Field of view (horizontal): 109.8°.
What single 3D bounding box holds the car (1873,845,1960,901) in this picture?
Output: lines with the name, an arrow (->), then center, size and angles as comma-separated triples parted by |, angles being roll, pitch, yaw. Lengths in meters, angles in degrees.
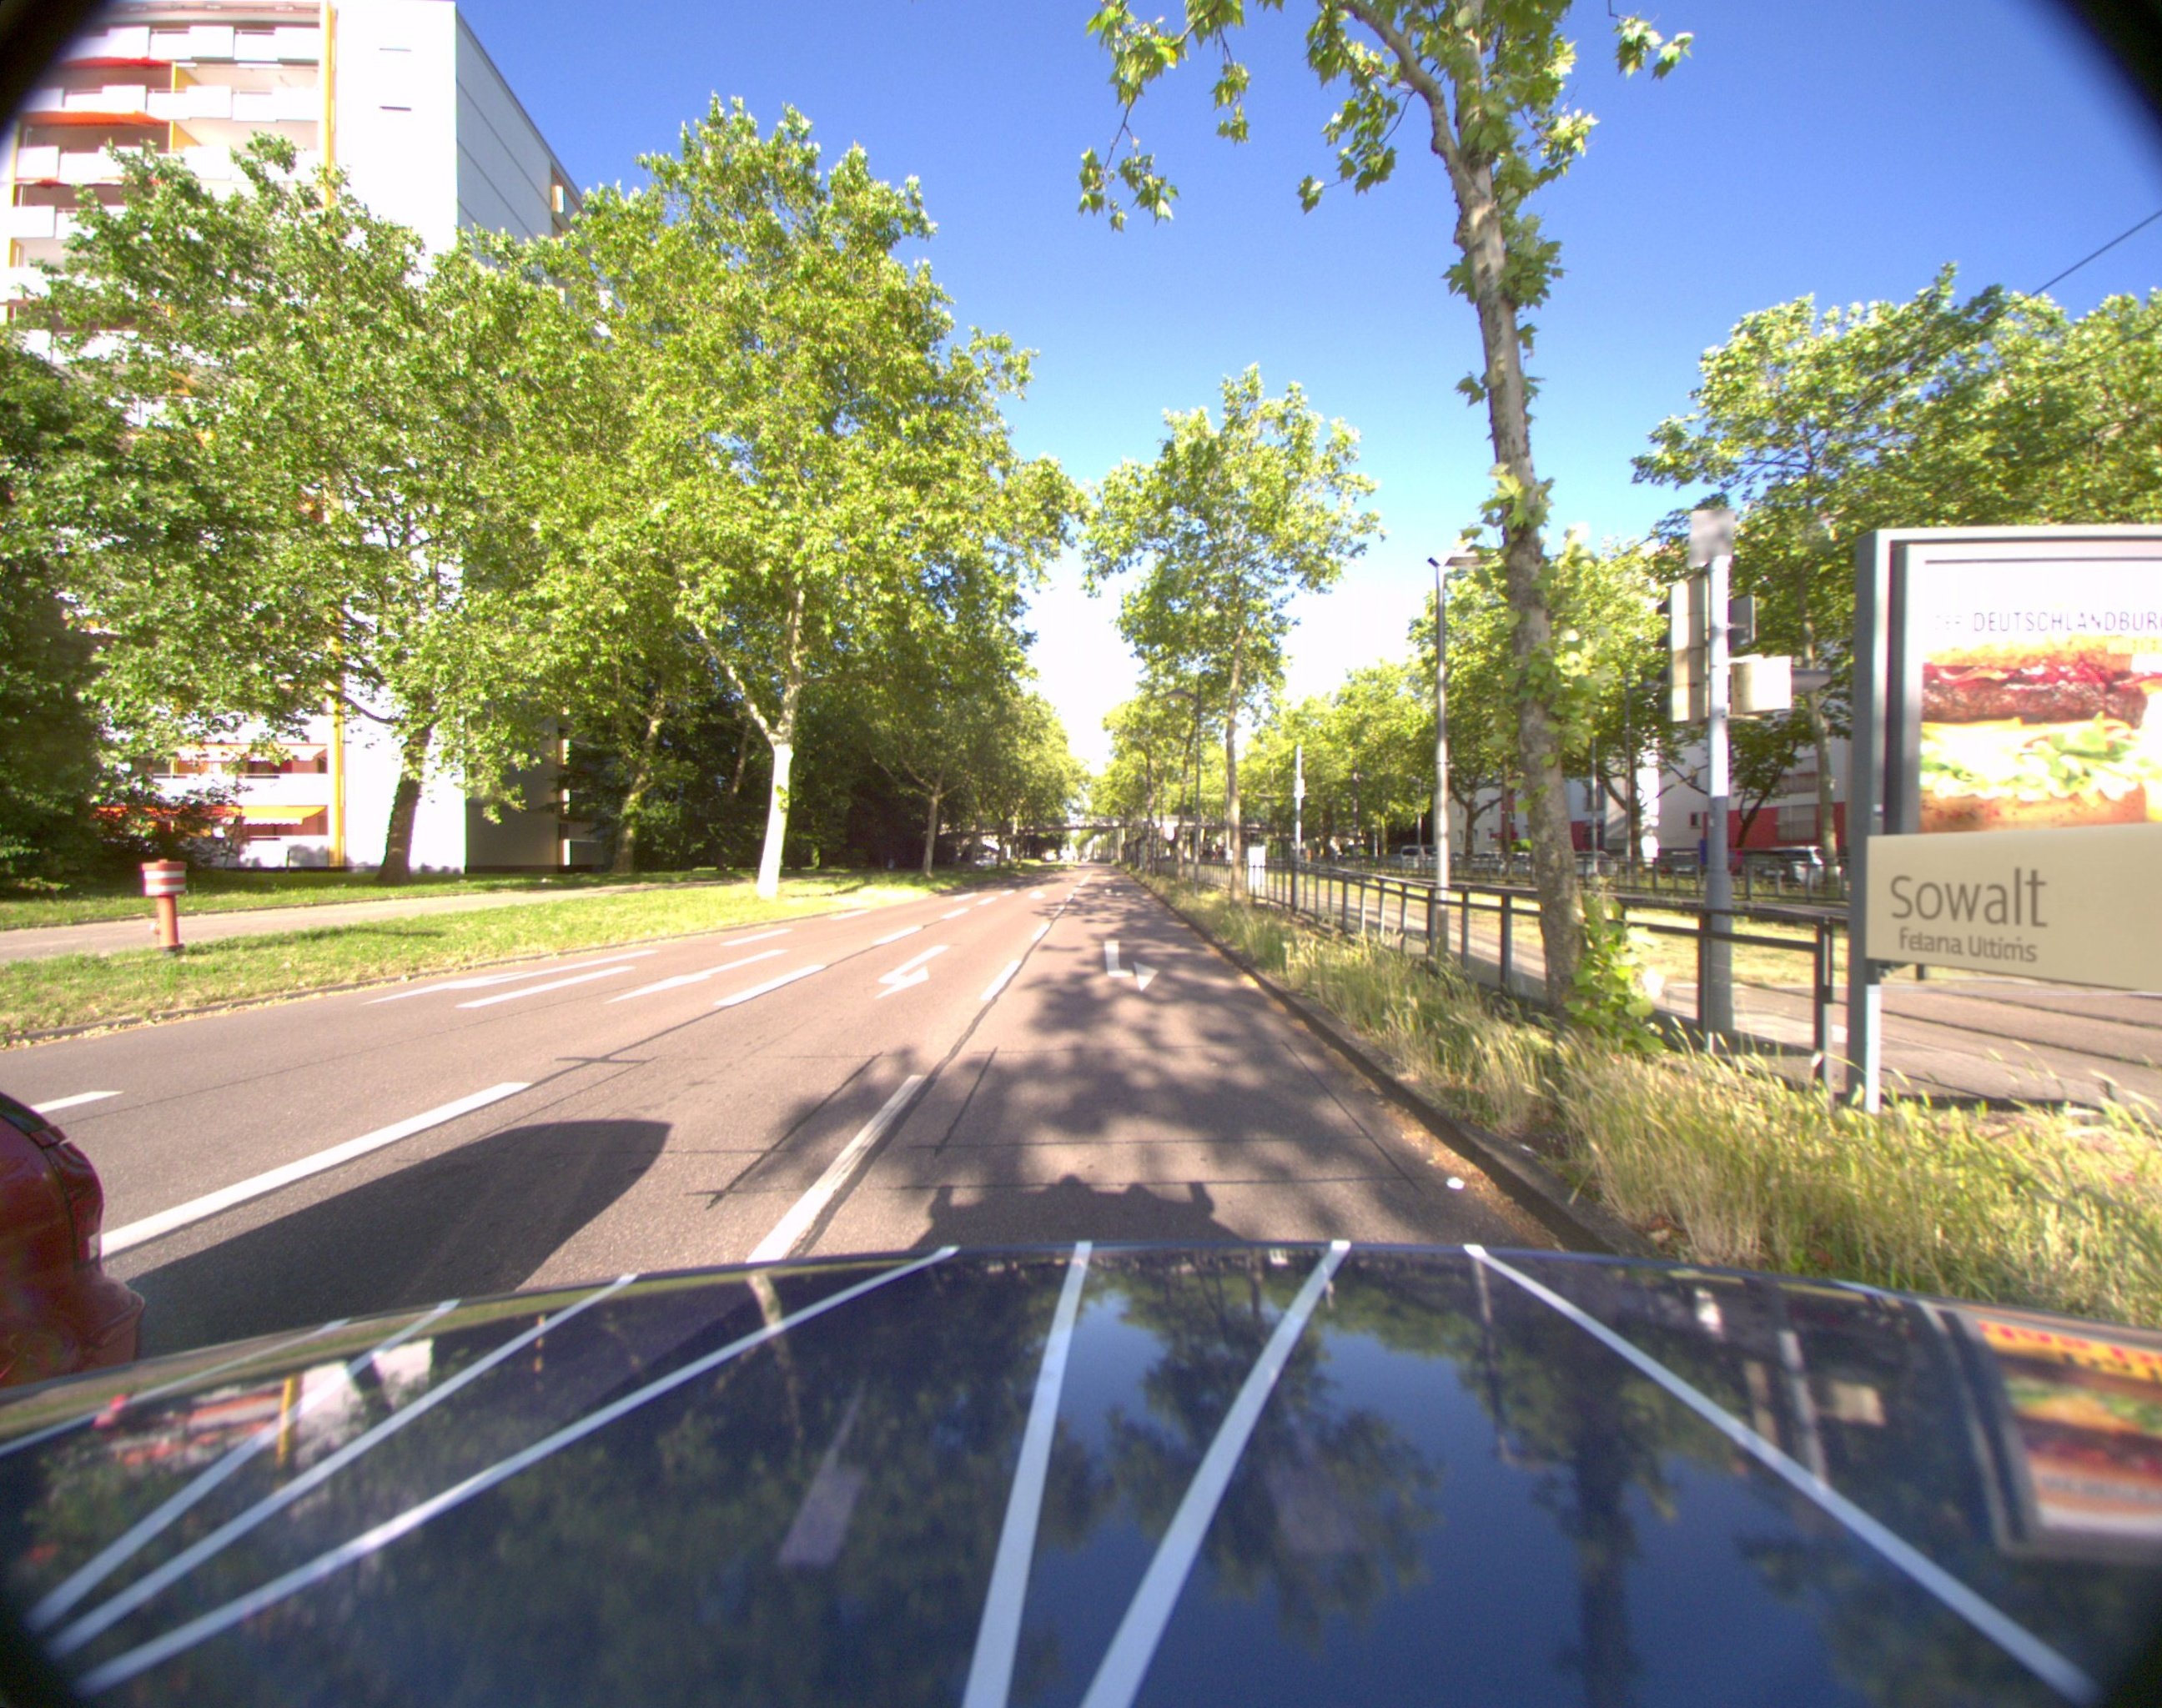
car -> 25.243, 0.519, 22.968 | 3.811, 1.501, 1.652 | -2, 0, -42

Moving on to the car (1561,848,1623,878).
car -> 25.382, 0.443, 37.700 | 3.811, 1.348, 1.652 | -2, 0, -42

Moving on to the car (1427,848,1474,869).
car -> 26.302, 0.305, 54.034 | 3.811, 1.433, 1.652 | -2, 0, -42

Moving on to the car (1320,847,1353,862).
car -> 26.786, 0.041, 79.627 | 3.811, 1.433, 1.652 | -2, 0, -42

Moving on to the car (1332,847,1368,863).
car -> 26.066, 0.129, 73.567 | 3.811, 1.433, 1.652 | -2, 0, -42

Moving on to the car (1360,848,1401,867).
car -> 24.943, 0.268, 63.211 | 3.811, 1.433, 1.652 | -2, 0, -42

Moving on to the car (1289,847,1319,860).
car -> 26.439, -0.052, 89.977 | 3.811, 1.433, 1.652 | -2, 0, -42

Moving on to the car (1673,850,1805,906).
car -> 19.609, 0.671, 22.784 | 1.579, 1.548, 2.817 | -2, 0, 3

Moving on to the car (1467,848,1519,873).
car -> 25.851, 0.393, 47.681 | 3.811, 1.433, 1.652 | -2, 0, -42

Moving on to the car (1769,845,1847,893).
car -> 25.357, 0.484, 26.477 | 3.811, 1.501, 1.652 | -2, 0, -42

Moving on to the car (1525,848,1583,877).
car -> 25.863, 0.438, 41.481 | 3.811, 1.433, 1.652 | -2, 0, -42

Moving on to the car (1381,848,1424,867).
car -> 25.730, 0.265, 60.754 | 3.811, 1.433, 1.652 | -2, 0, -42

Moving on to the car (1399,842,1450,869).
car -> 25.818, 0.085, 57.032 | 4.330, 1.863, 1.836 | -2, 0, -42

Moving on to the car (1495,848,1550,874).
car -> 26.098, 0.402, 44.866 | 3.811, 1.433, 1.652 | -2, 0, -42

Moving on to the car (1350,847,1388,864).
car -> 26.619, 0.130, 70.136 | 3.811, 1.433, 1.652 | -2, 0, -42
